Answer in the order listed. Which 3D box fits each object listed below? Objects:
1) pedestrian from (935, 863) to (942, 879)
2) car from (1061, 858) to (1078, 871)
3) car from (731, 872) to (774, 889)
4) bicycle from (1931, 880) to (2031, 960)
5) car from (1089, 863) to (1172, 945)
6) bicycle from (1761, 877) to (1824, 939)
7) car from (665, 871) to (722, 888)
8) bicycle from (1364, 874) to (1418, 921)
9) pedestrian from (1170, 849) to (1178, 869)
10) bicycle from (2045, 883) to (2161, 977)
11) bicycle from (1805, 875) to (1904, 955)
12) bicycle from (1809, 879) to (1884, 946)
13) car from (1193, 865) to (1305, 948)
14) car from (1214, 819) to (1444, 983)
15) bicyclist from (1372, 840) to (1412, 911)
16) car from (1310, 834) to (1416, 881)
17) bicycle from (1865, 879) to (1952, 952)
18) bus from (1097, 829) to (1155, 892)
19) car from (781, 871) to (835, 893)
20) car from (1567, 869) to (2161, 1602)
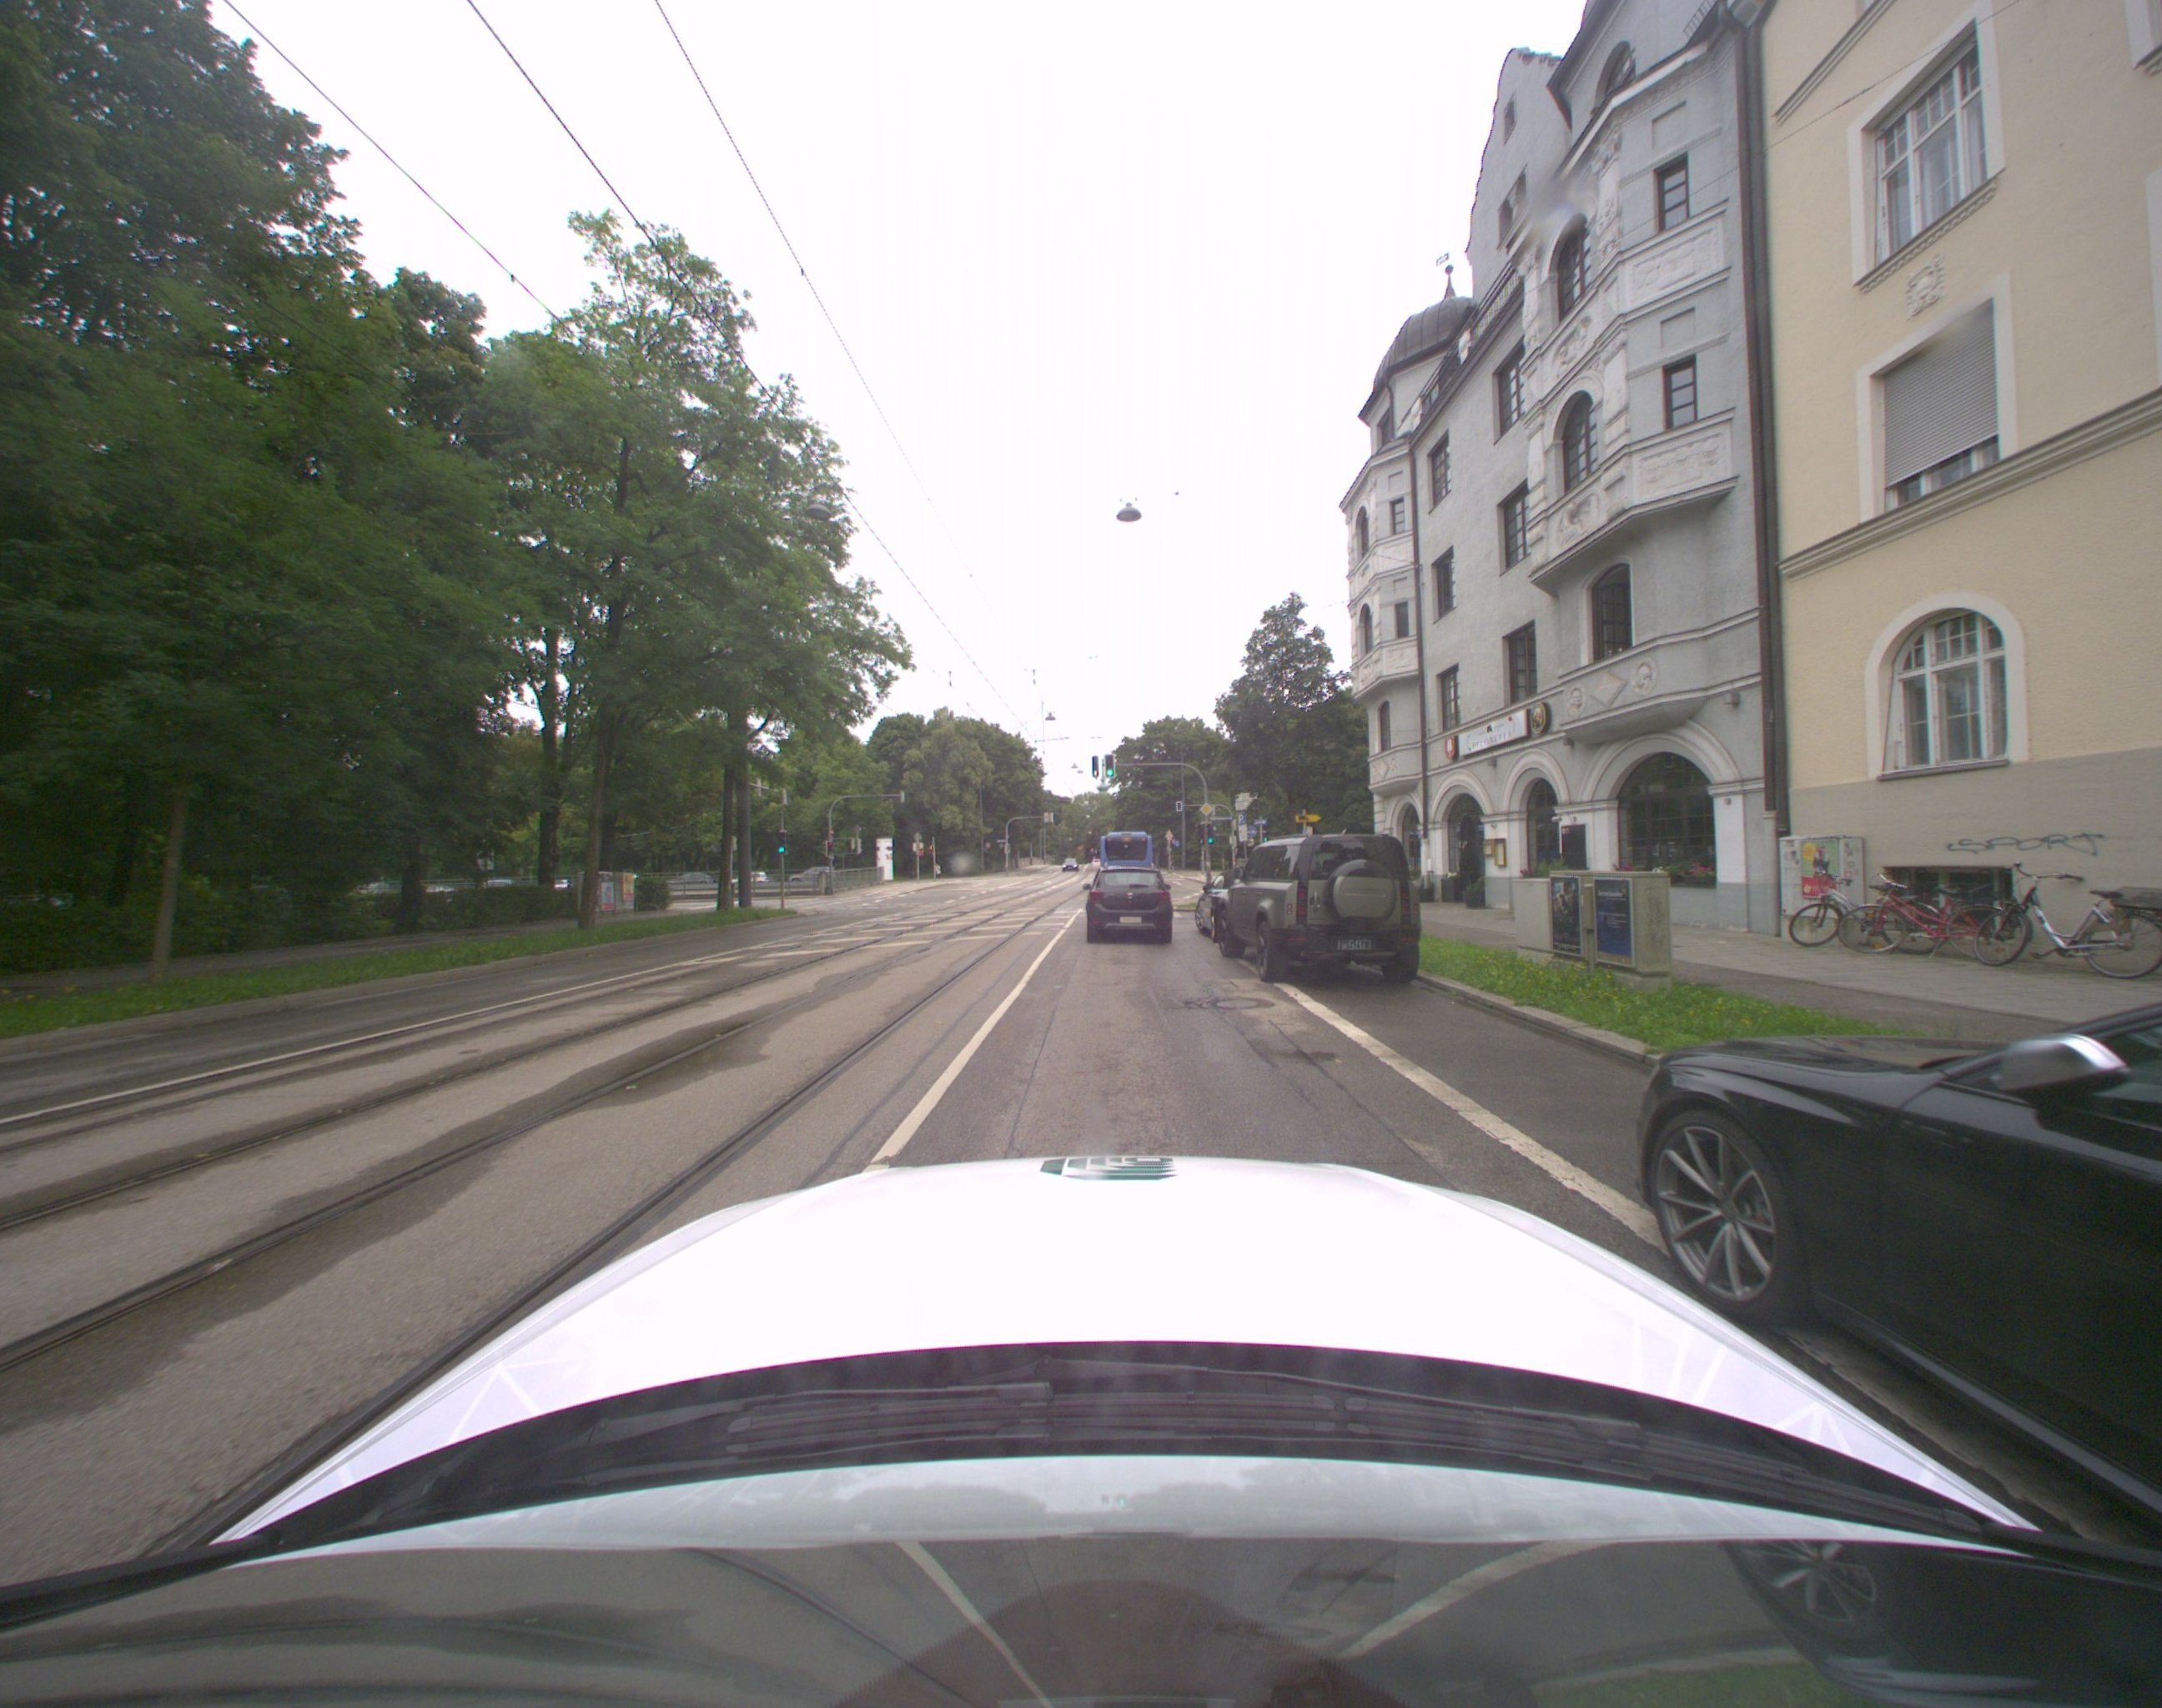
[{"bbox_3d":[-13.074,1.580,74.685,0.529,1.501,0.589,0,-1,6],"label":"pedestrian"},{"bbox_3d":[-1.298,1.212,92.988,1.781,1.370,3.400,0,-1,1],"label":"car"},{"bbox_3d":[-27.818,2.249,69.083,3.103,1.452,1.249,0,-1,-3],"label":"car"},{"bbox_3d":[11.015,0.787,9.991,0.271,0.931,0.886,0,-1,3],"label":"bicycle"},{"bbox_3d":[0.997,0.990,17.417,1.595,1.557,3.526,0,-1,1],"label":"car"},{"bbox_3d":[11.212,0.834,12.855,0.258,0.931,0.886,0,-1,3],"label":"bicycle"},{"bbox_3d":[-32.786,2.186,68.954,3.915,1.404,1.719,0,-1,-3],"label":"car"},{"bbox_3d":[7.675,1.050,20.266,0.577,1.078,1.912,-4,-1,1],"label":"bicycle"},{"bbox_3d":[9.643,0.552,84.872,0.759,2.116,0.854,0,-1,2],"label":"pedestrian"},{"bbox_3d":[10.908,0.787,8.656,0.284,0.931,0.886,0,-1,3],"label":"bicycle"},{"bbox_3d":[10.734,0.816,11.340,0.241,1.039,1.224,0,-1,2],"label":"bicycle"},{"bbox_3d":[11.179,0.831,11.918,0.289,0.931,0.886,0,-1,3],"label":"bicycle"},{"bbox_3d":[3.516,1.043,17.755,1.707,1.591,4.329,0,-1,2],"label":"car"},{"bbox_3d":[3.297,0.594,11.921,1.908,1.906,4.806,0,-1,0],"label":"car"},{"bbox_3d":[7.685,0.525,20.134,0.721,1.729,0.726,0,-1,1],"label":"bicyclist"},{"bbox_3d":[16.015,0.221,46.481,5.280,2.613,2.229,0,-1,-1],"label":"car"},{"bbox_3d":[11.111,0.803,10.959,0.304,0.931,0.886,0,-1,4],"label":"bicycle"},{"bbox_3d":[2.252,0.388,42.606,2.670,2.998,6.959,0,-1,0],"label":"bus"},{"bbox_3d":[-23.203,2.369,69.333,4.015,1.887,1.488,0,-1,-5],"label":"car"},{"bbox_3d":[2.954,0.741,1.307,1.709,1.426,4.603,0,-1,2],"label":"car"}]
